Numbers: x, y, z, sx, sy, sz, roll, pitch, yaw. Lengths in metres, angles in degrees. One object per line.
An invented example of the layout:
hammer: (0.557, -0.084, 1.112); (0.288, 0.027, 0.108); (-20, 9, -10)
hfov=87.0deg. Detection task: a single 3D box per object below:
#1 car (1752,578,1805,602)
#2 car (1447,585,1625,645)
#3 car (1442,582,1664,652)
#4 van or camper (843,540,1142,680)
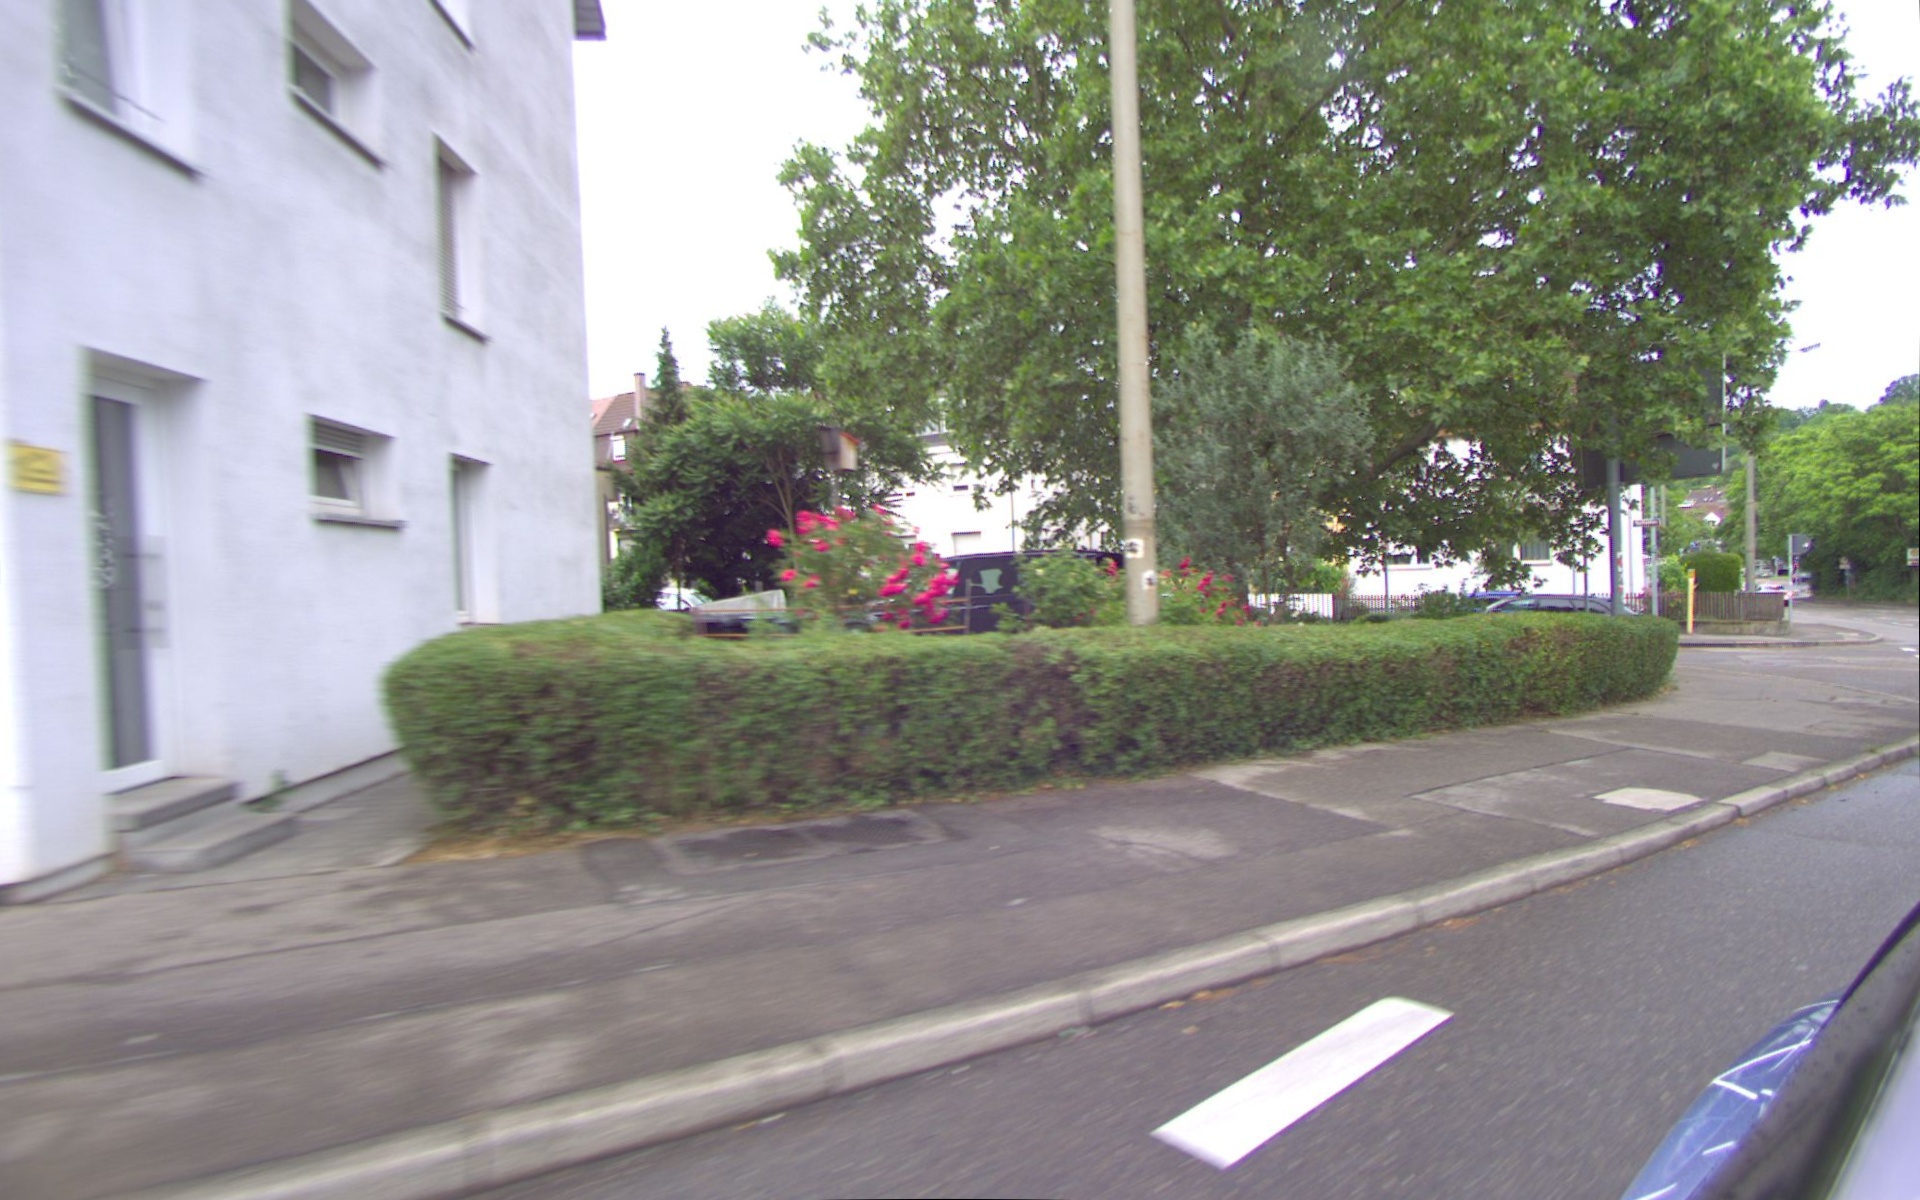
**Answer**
car: (56.421, -0.657, 69.859); (1.825, 1.577, 5.518); (-1, 0, 28)
car: (15.091, 0.338, 26.762); (3.961, 1.482, 1.844); (0, 1, 27)
car: (13.869, 0.378, 23.977); (4.352, 1.532, 1.981); (0, 0, 28)
van or camper: (0.487, 0.142, 15.898); (4.288, 1.928, 1.980); (0, 0, 29)
